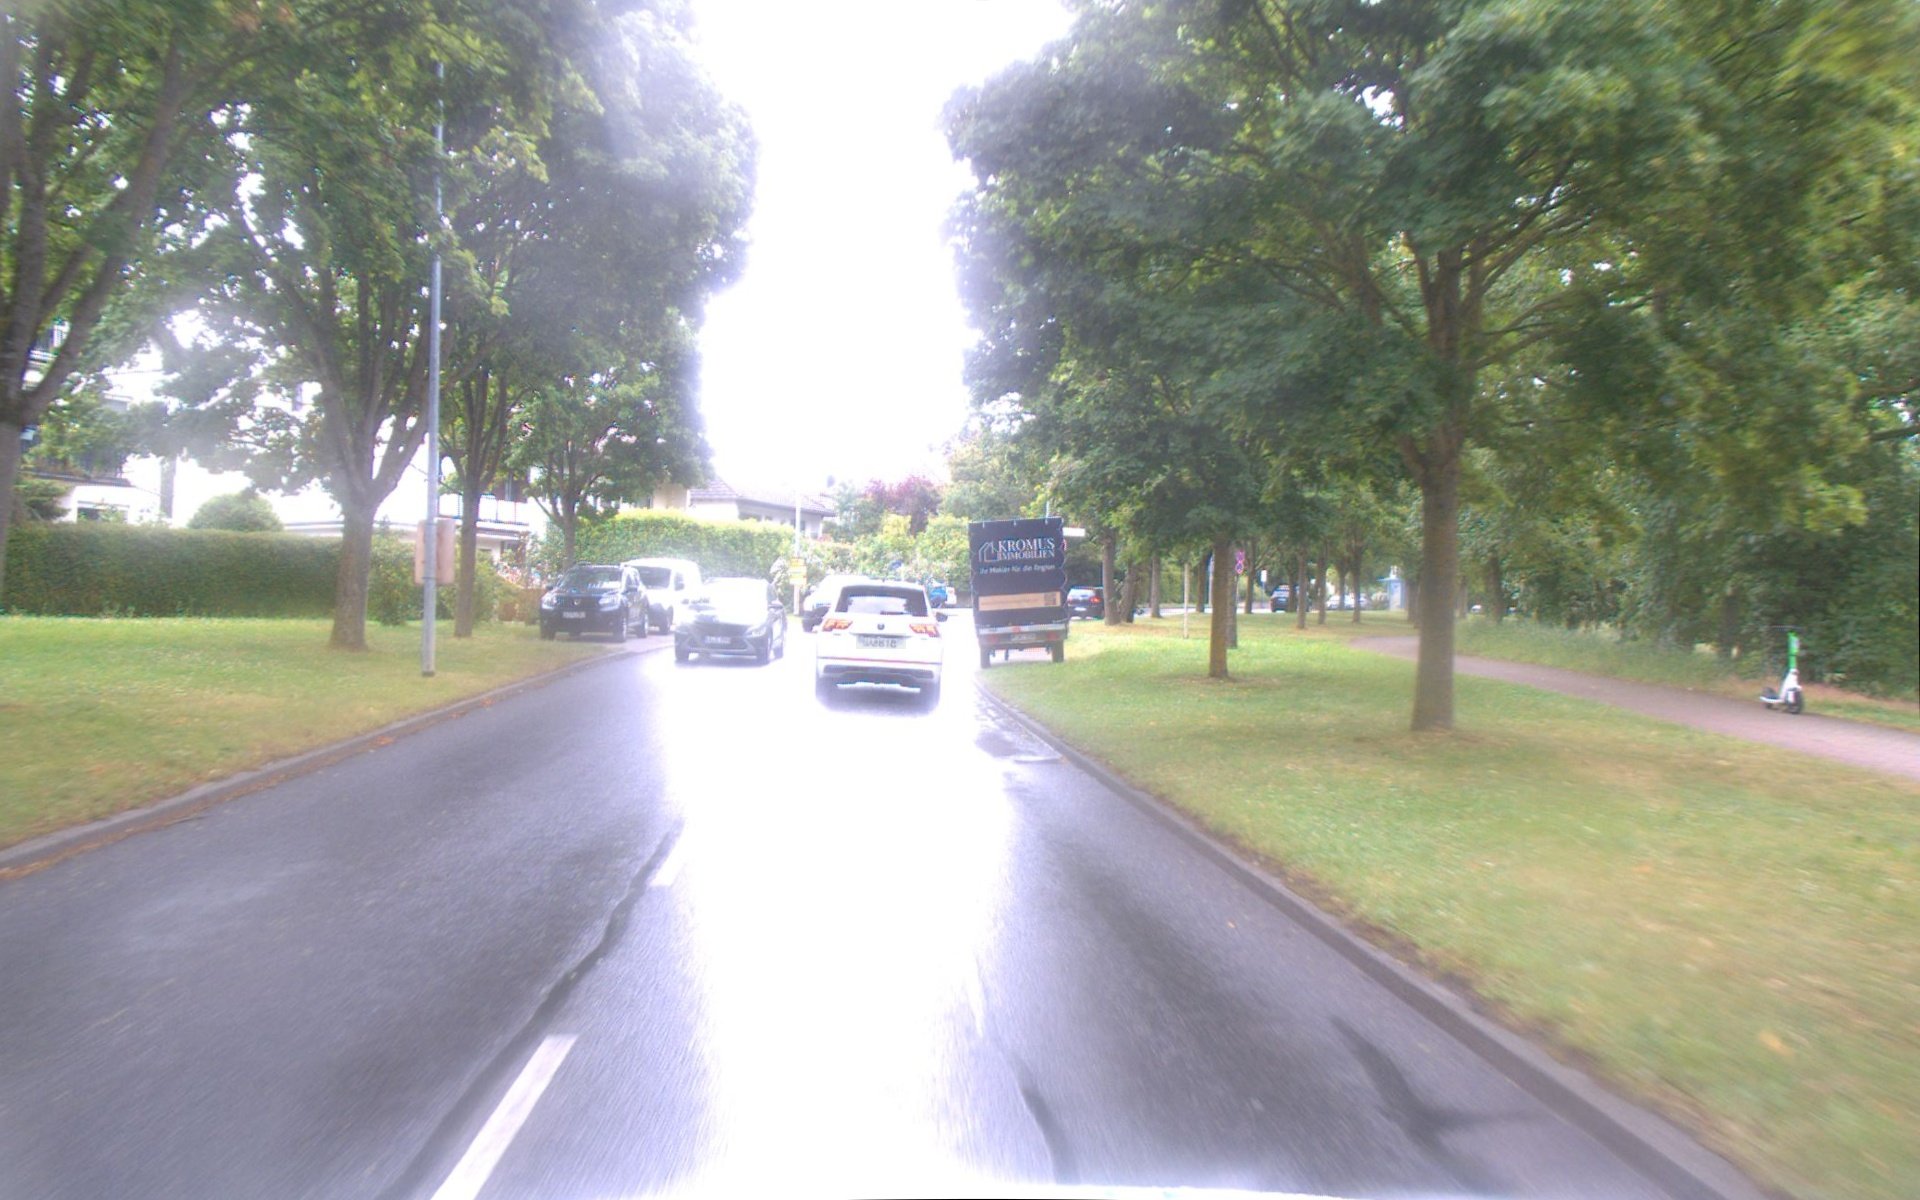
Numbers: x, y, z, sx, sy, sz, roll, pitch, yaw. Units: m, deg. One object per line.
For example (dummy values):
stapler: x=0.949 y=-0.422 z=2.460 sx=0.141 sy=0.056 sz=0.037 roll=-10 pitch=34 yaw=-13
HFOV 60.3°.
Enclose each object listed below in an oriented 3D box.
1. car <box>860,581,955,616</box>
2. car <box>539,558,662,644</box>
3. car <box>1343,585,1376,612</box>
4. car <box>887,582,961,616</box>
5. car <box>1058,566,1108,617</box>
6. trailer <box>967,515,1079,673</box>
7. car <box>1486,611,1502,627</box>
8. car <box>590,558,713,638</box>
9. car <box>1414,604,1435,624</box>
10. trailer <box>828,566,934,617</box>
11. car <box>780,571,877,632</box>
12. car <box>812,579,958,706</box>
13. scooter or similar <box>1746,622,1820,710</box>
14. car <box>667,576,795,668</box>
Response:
car: x=-2.546 y=-0.073 z=80.816 sx=4.150 sy=1.566 sz=2.053 roll=2 pitch=0 yaw=19
car: x=-7.847 y=0.038 z=36.500 sx=1.715 sy=1.669 sz=4.591 roll=4 pitch=-1 yaw=-1
car: x=31.053 y=-0.115 z=128.475 sx=1.953 sy=1.836 sz=4.000 roll=3 pitch=-1 yaw=21
car: x=-1.814 y=-0.048 z=83.991 sx=3.332 sy=1.545 sz=1.731 roll=2 pitch=0 yaw=19
car: x=5.484 y=-0.356 z=73.182 sx=1.861 sy=2.048 sz=3.947 roll=4 pitch=-1 yaw=8
trailer: x=1.204 y=-0.135 z=34.054 sx=1.953 sy=2.857 sz=5.608 roll=-4 pitch=0 yaw=0
car: x=59.803 y=2.117 z=185.165 sx=1.391 sy=1.597 sz=3.433 roll=4 pitch=-1 yaw=14
car: x=-7.708 y=-0.043 z=41.749 sx=1.760 sy=1.827 sz=4.375 roll=3 pitch=0 yaw=7
car: x=47.728 y=1.482 z=169.962 sx=1.952 sy=1.839 sz=4.002 roll=3 pitch=-1 yaw=17
trailer: x=-3.707 y=-0.410 z=77.643 sx=4.524 sy=2.209 sz=1.815 roll=2 pitch=0 yaw=19
car: x=-3.950 y=0.030 z=50.445 sx=1.812 sy=1.721 sz=4.409 roll=2 pitch=1 yaw=10
car: x=-1.149 y=0.570 z=24.460 sx=1.935 sy=1.682 sz=4.173 roll=1 pitch=0 yaw=-4
scooter or similar: x=11.376 y=0.891 z=22.902 sx=0.453 sy=1.167 sz=1.302 roll=0 pitch=0 yaw=4
car: x=-4.389 y=0.371 z=32.269 sx=1.753 sy=1.564 sz=4.093 roll=4 pitch=1 yaw=1
